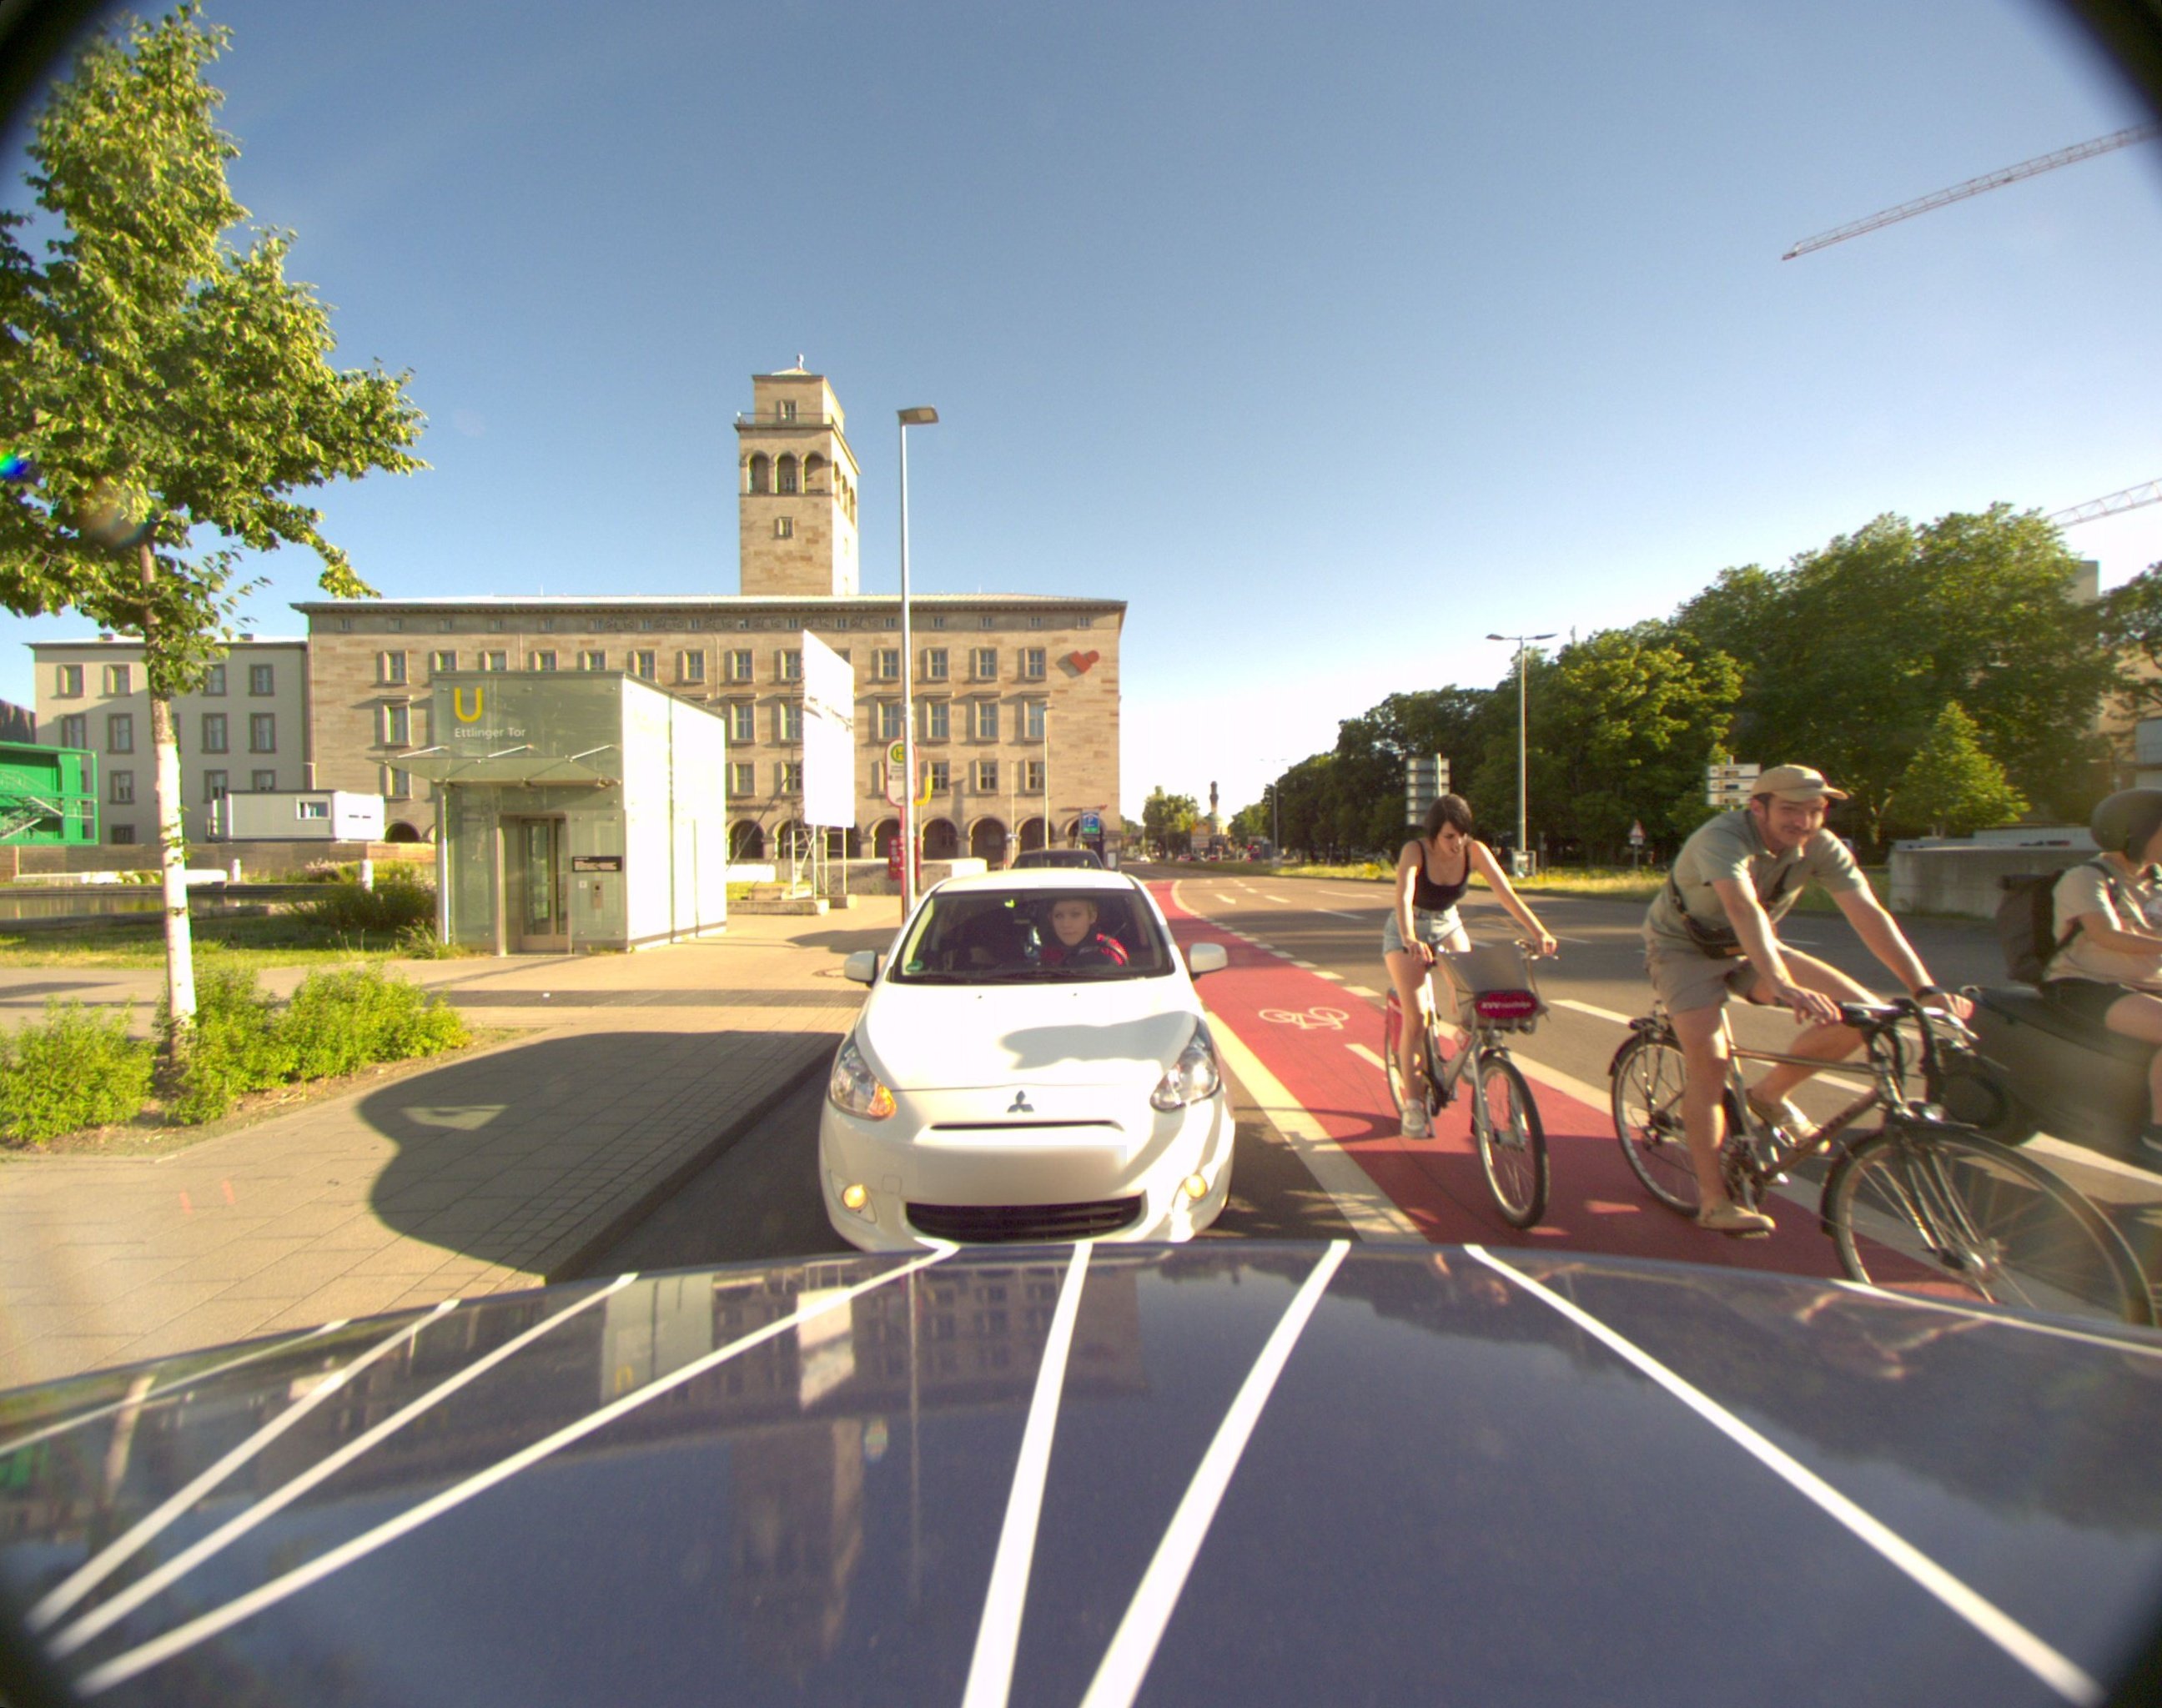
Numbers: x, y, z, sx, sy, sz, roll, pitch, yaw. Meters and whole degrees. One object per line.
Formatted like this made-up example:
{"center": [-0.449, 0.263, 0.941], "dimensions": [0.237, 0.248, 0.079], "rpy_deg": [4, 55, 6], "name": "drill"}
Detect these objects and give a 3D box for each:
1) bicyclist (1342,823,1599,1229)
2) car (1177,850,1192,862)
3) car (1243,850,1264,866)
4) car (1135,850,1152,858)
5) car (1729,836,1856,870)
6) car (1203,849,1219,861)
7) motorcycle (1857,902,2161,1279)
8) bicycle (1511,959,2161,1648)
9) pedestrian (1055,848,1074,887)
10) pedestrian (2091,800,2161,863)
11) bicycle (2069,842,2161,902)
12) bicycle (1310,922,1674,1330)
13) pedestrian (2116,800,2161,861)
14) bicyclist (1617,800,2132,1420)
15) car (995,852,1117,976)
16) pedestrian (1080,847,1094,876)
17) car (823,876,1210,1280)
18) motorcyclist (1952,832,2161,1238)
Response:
{"center": [1.679, 0.674, 3.415], "dimensions": [0.643, 1.570, 0.875], "rpy_deg": [-2, 1, -2], "name": "bicyclist"}
{"center": [16.419, 0.281, 120.498], "dimensions": [1.849, 1.677, 3.999], "rpy_deg": [-2, 1, 1], "name": "car"}
{"center": [21.649, 0.450, 95.455], "dimensions": [1.819, 1.817, 3.999], "rpy_deg": [-2, 1, 1], "name": "car"}
{"center": [12.864, 0.035, 156.552], "dimensions": [1.853, 1.677, 3.992], "rpy_deg": [-3, 1, -25], "name": "car"}
{"center": [42.134, -0.053, 45.113], "dimensions": [5.516, 1.924, 2.065], "rpy_deg": [-1, 1, 2], "name": "car"}
{"center": [20.587, 0.120, 120.443], "dimensions": [1.747, 1.778, 3.947], "rpy_deg": [-2, 1, 1], "name": "car"}
{"center": [4.283, 0.896, 2.889], "dimensions": [0.724, 1.286, 1.884], "rpy_deg": [-2, 0, 1], "name": "motorcycle"}
{"center": [2.355, 1.049, 2.532], "dimensions": [0.648, 1.103, 1.970], "rpy_deg": [-2, 0, -2], "name": "bicycle"}
{"center": [-1.075, 0.886, 50.494], "dimensions": [1.122, 2.524, 1.055], "rpy_deg": [-2, 1, 1], "name": "pedestrian"}
{"center": [34.852, -0.746, 25.298], "dimensions": [0.940, 2.002, 1.137], "rpy_deg": [-2, 1, -5], "name": "pedestrian"}
{"center": [33.052, 0.545, 23.513], "dimensions": [0.841, 1.800, 3.082], "rpy_deg": [-2, -1, -1], "name": "bicycle"}
{"center": [1.687, 1.011, 3.518], "dimensions": [0.617, 1.211, 1.831], "rpy_deg": [-2, 0, -2], "name": "bicycle"}
{"center": [35.829, -0.792, 25.389], "dimensions": [0.940, 2.002, 1.137], "rpy_deg": [-2, 1, -5], "name": "pedestrian"}
{"center": [2.380, 0.668, 2.407], "dimensions": [0.718, 1.596, 0.841], "rpy_deg": [-2, 1, -2], "name": "bicyclist"}
{"center": [-0.373, 0.838, 12.522], "dimensions": [1.642, 1.653, 3.849], "rpy_deg": [-2, 0, -1], "name": "car"}
{"center": [0.550, 0.628, 67.763], "dimensions": [1.122, 2.524, 1.055], "rpy_deg": [-2, 1, 1], "name": "pedestrian"}
{"center": [-0.233, 0.952, 4.842], "dimensions": [1.496, 1.477, 3.604], "rpy_deg": [-2, 0, 1], "name": "car"}
{"center": [4.276, 0.652, 2.942], "dimensions": [0.727, 1.466, 0.917], "rpy_deg": [-2, 0, 1], "name": "motorcyclist"}
